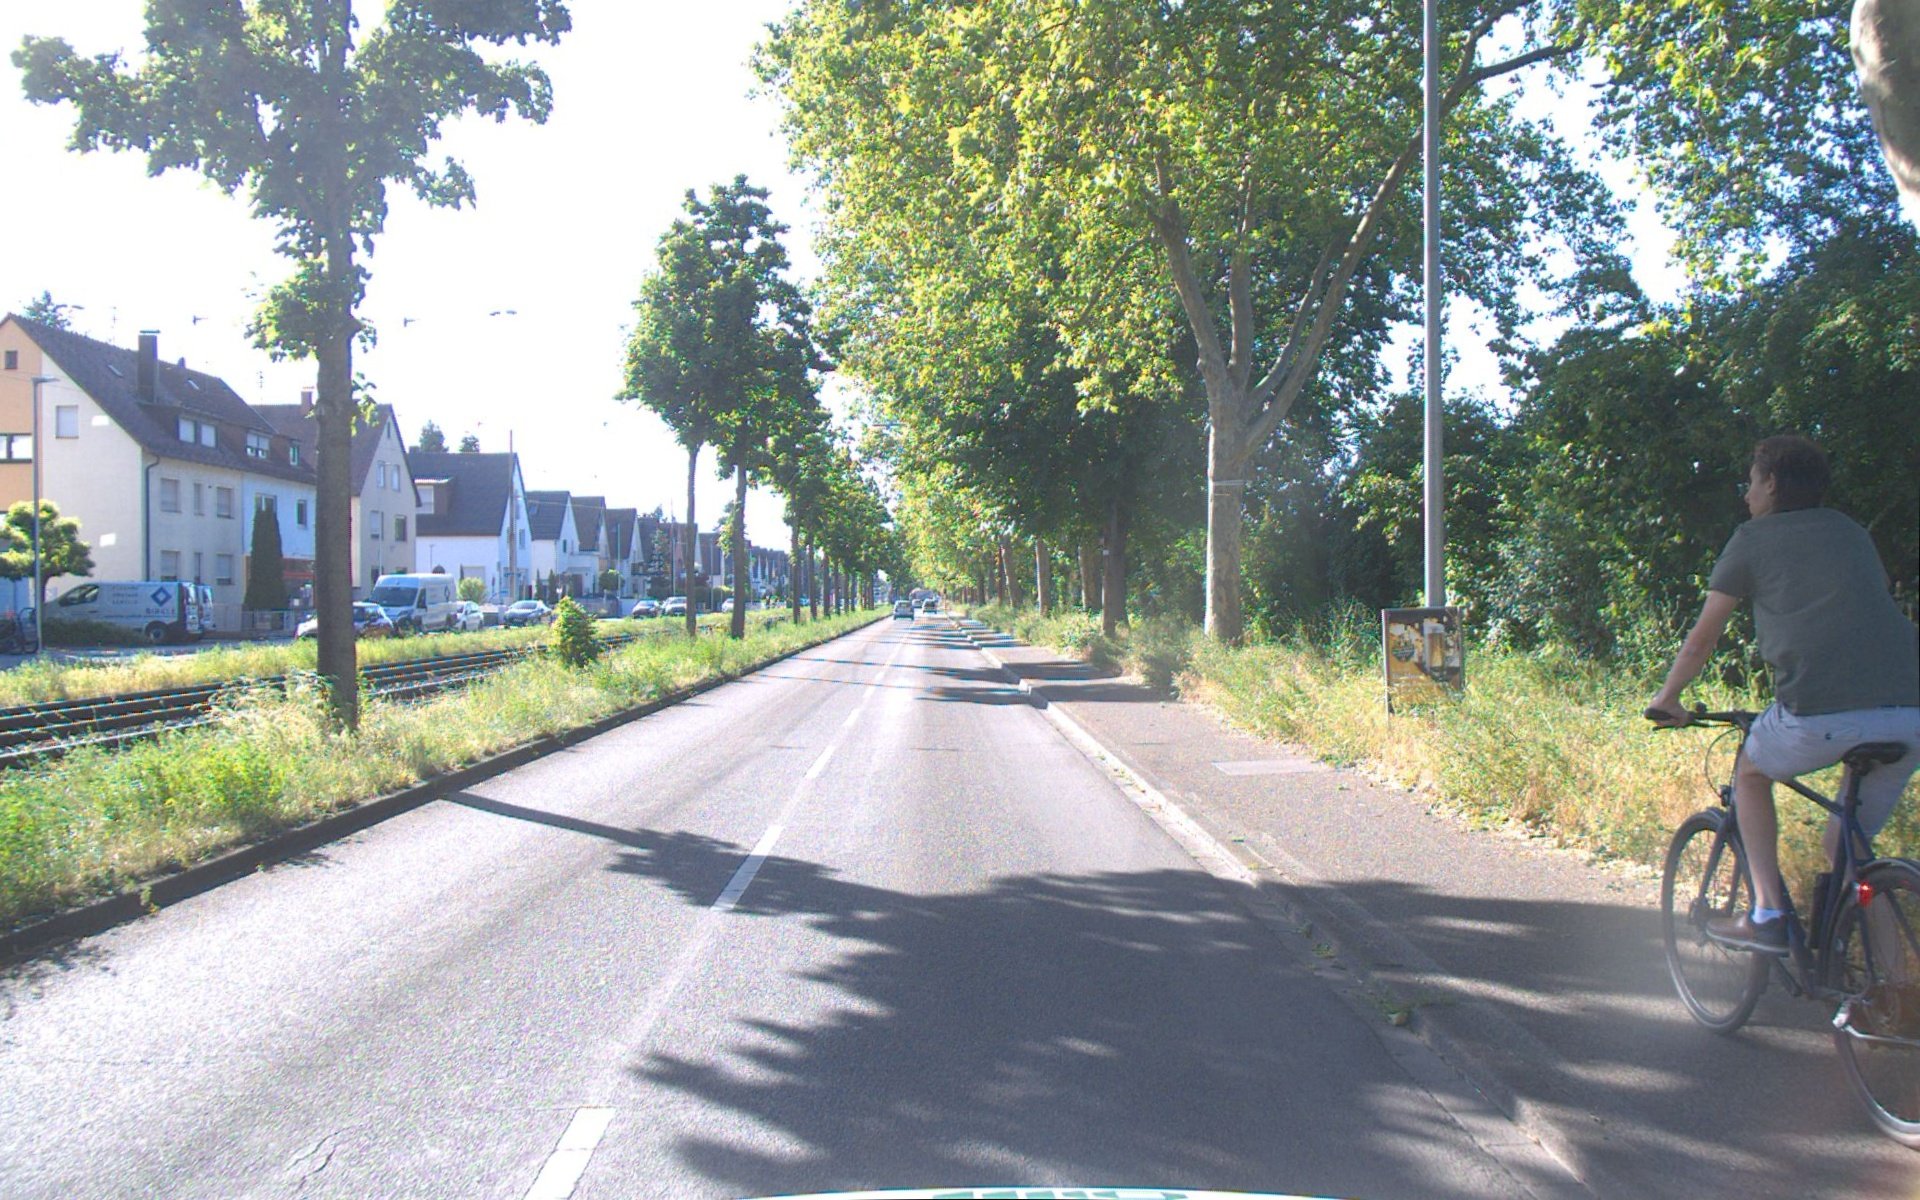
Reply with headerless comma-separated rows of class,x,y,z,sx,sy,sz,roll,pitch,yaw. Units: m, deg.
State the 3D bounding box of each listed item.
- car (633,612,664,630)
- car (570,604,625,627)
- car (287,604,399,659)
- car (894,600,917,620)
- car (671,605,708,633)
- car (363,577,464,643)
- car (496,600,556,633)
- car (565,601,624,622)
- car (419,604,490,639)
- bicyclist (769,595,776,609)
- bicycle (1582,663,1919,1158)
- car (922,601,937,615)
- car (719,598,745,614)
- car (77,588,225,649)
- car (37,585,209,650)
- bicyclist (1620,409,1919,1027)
car,-23.372,1.576,124.206,1.463,1.349,4.000,1,-1,0
car,-28.642,1.242,130.820,3.909,1.699,1.998,1,-1,-5
car,-16.927,0.826,45.533,1.642,1.434,3.999,0,0,-1
car,-4.199,0.774,128.234,1.703,1.425,3.275,1,-1,-1
car,-19.615,1.381,119.939,1.876,1.916,4.523,1,-1,0
car,-22.012,0.433,66.890,1.953,2.502,6.672,1,-1,-2
car,-22.597,0.839,86.251,1.953,1.609,4.497,1,0,0
car,-28.155,0.907,127.497,4.131,1.489,1.936,1,-1,-5
car,-22.134,0.946,72.603,1.787,1.437,4.656,1,-1,-2
bicyclist,-22.216,0.220,196.338,0.674,1.681,0.881,2,-1,-1
bicycle,2.462,0.804,4.995,0.431,1.173,1.822,1,-1,-1
car,-3.537,0.898,192.219,1.725,1.539,3.276,1,-1,0
car,-24.769,0.651,180.105,1.952,1.627,4.732,1,-1,2
car,-27.184,0.619,55.725,4.064,1.986,1.994,1,-1,-12
car,-26.865,0.568,53.239,4.536,1.980,1.994,1,-1,-12
bicyclist,2.447,0.316,4.901,0.601,1.657,0.909,0,0,-1
